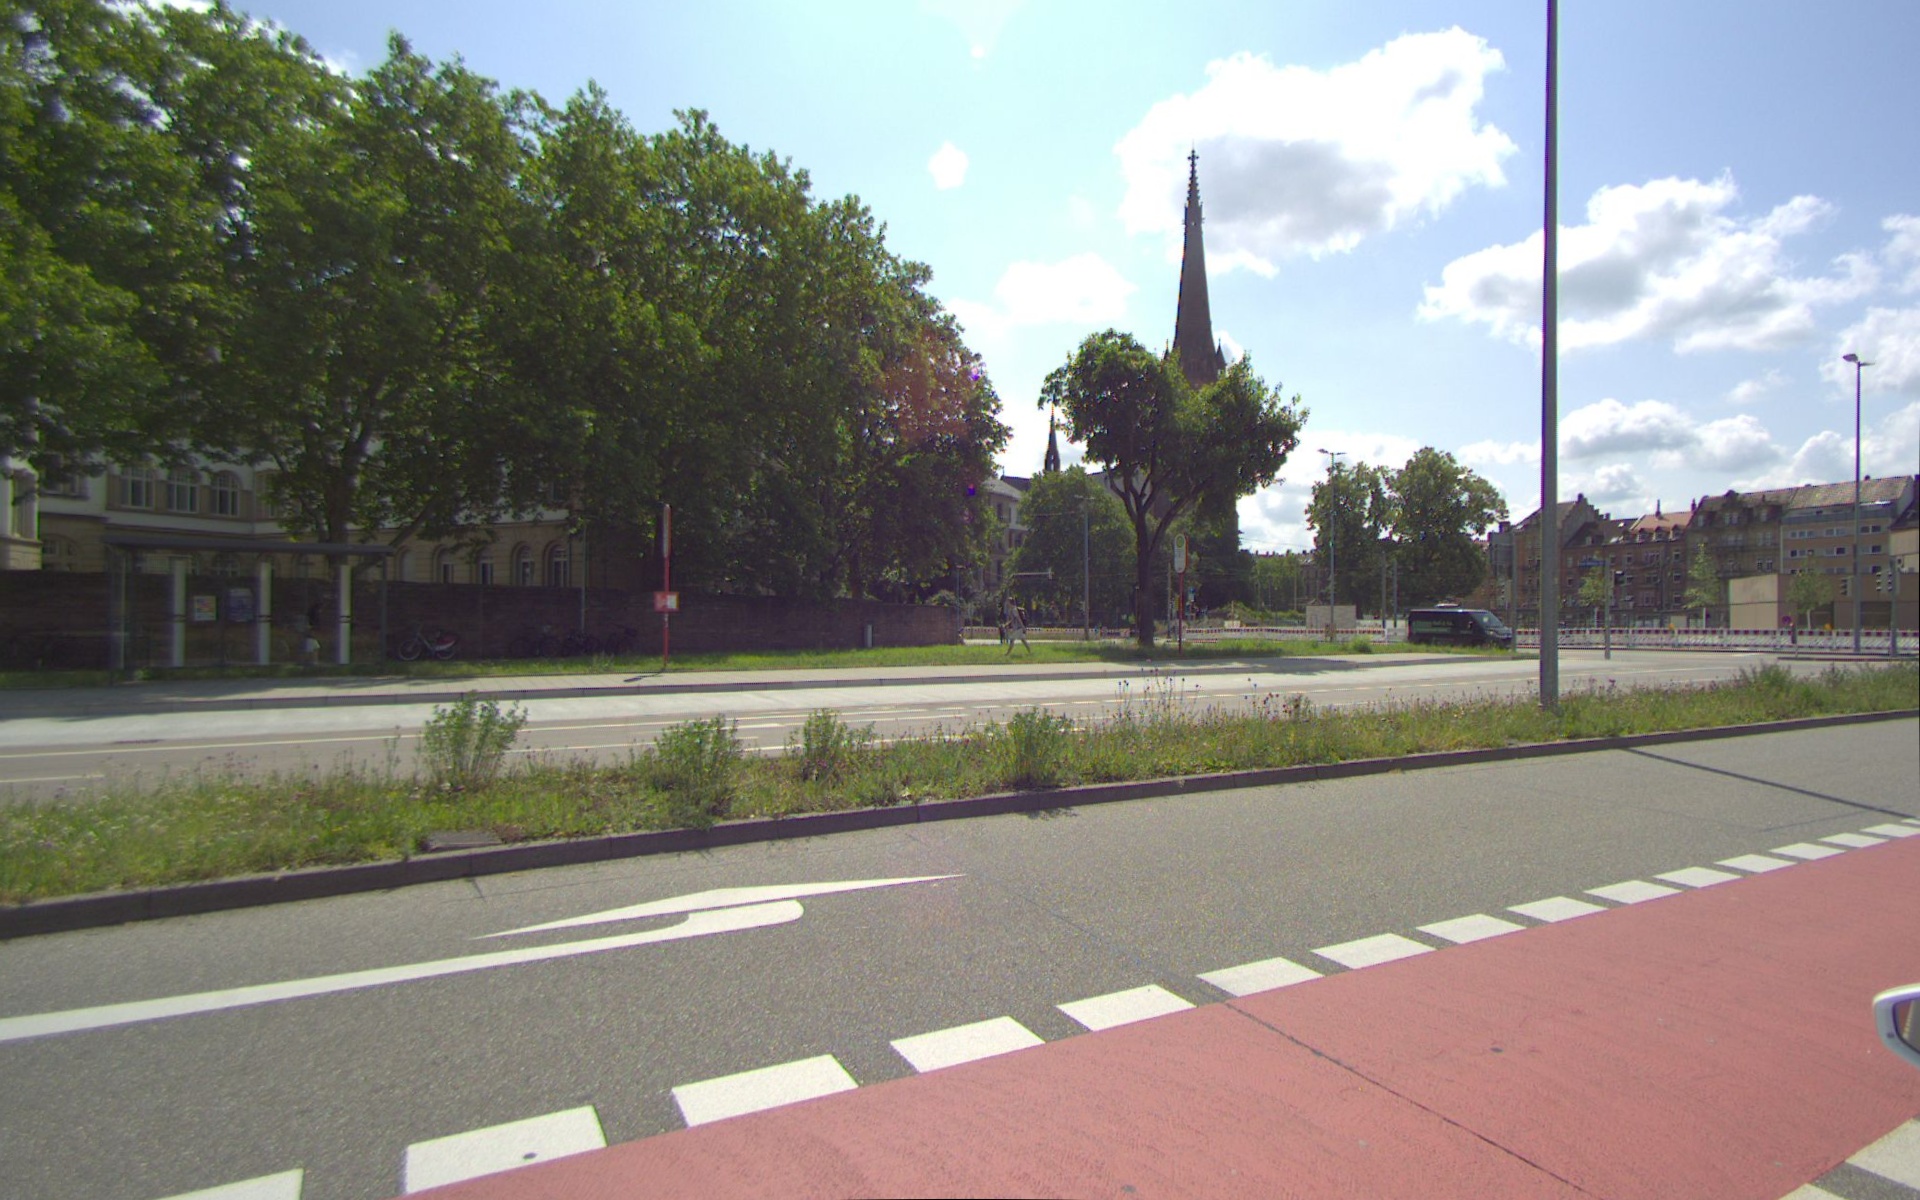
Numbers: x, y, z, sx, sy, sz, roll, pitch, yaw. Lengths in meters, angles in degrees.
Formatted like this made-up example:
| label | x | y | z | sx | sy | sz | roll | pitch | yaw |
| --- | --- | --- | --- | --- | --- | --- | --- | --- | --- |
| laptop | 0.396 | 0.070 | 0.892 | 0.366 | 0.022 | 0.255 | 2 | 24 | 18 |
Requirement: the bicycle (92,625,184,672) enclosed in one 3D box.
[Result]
| label | x | y | z | sx | sy | sz | roll | pitch | yaw |
| --- | --- | --- | --- | --- | --- | --- | --- | --- | --- |
| bicycle | -19.414 | 1.122 | 23.741 | 0.538 | 1.065 | 1.615 | 0 | -1 | 43 |

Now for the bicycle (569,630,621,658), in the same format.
| label | x | y | z | sx | sy | sz | roll | pitch | yaw |
| --- | --- | --- | --- | --- | --- | --- | --- | --- | --- |
| bicycle | -12.367 | 1.486 | 34.096 | 0.536 | 0.914 | 1.660 | 0 | -1 | 34 |

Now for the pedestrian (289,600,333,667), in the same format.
| label | x | y | z | sx | sy | sz | roll | pitch | yaw |
| --- | --- | --- | --- | --- | --- | --- | --- | --- | --- |
| pedestrian | -16.172 | 0.827 | 25.033 | 0.607 | 1.638 | 0.754 | 1 | 0 | 39 |

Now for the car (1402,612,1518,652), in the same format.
| label | x | y | z | sx | sy | sz | roll | pitch | yaw |
| --- | --- | --- | --- | --- | --- | --- | --- | --- | --- |
| car | 24.934 | 1.563 | 50.261 | 1.908 | 1.904 | 4.980 | 0 | -1 | -33 |

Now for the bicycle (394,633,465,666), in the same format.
| label | x | y | z | sx | sy | sz | roll | pitch | yaw |
| --- | --- | --- | --- | --- | --- | --- | --- | --- | --- |
| bicycle | -15.528 | 1.428 | 29.434 | 0.446 | 0.914 | 1.786 | 0 | -1 | 39 |

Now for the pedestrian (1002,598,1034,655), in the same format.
| label | x | y | z | sx | sy | sz | roll | pitch | yaw |
| --- | --- | --- | --- | --- | --- | --- | --- | --- | --- |
| pedestrian | 1.626 | 0.730 | 27.991 | 0.858 | 1.580 | 0.556 | 0 | -1 | 6 |

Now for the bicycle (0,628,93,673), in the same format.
| label | x | y | z | sx | sy | sz | roll | pitch | yaw |
| --- | --- | --- | --- | --- | --- | --- | --- | --- | --- |
| bicycle | -20.561 | 1.123 | 22.506 | 0.538 | 0.964 | 1.656 | 0 | -1 | 43 |

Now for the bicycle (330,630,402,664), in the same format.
| label | x | y | z | sx | sy | sz | roll | pitch | yaw |
| --- | --- | --- | --- | --- | --- | --- | --- | --- | --- |
| bicycle | -16.505 | 1.292 | 27.943 | 0.537 | 0.914 | 1.658 | 0 | -1 | 39 |

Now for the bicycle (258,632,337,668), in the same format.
| label | x | y | z | sx | sy | sz | roll | pitch | yaw |
| --- | --- | --- | --- | --- | --- | --- | --- | --- | --- |
| bicycle | -17.521 | 1.315 | 26.590 | 0.537 | 0.914 | 1.658 | 0 | -1 | 39 |

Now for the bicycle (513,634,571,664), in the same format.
| label | x | y | z | sx | sy | sz | roll | pitch | yaw |
| --- | --- | --- | --- | --- | --- | --- | --- | --- | --- |
| bicycle | -13.437 | 1.572 | 32.305 | 0.537 | 0.914 | 1.658 | 0 | -1 | 39 |

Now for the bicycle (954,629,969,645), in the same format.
| label | x | y | z | sx | sy | sz | roll | pitch | yaw |
| --- | --- | --- | --- | --- | --- | --- | --- | --- | --- |
| bicycle | 0.080 | 2.176 | 59.323 | 0.534 | 0.914 | 1.666 | 0 | -1 | 12 |

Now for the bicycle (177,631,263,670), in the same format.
| label | x | y | z | sx | sy | sz | roll | pitch | yaw |
| --- | --- | --- | --- | --- | --- | --- | --- | --- | --- |
| bicycle | -18.573 | 1.255 | 25.229 | 0.537 | 0.914 | 1.658 | 0 | -1 | 39 |
